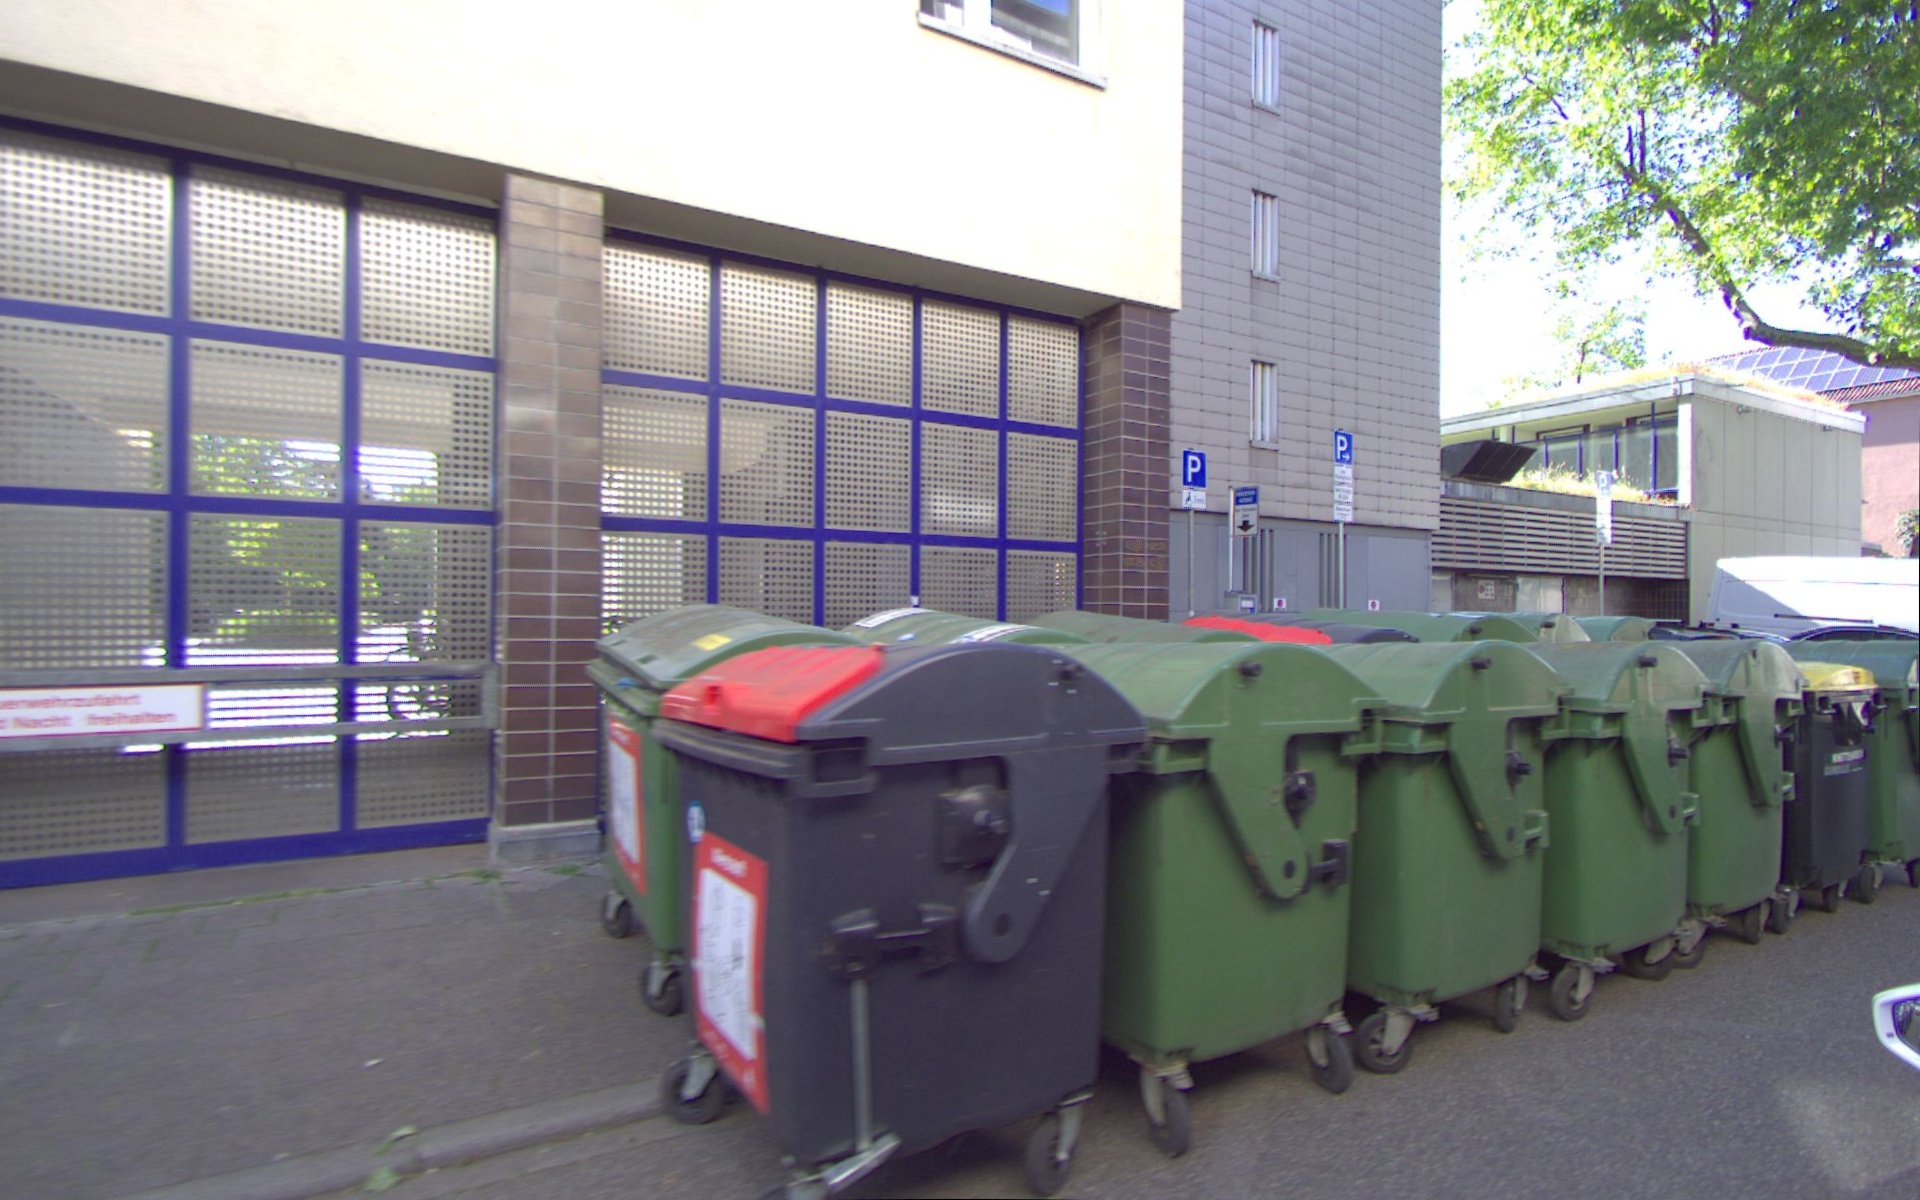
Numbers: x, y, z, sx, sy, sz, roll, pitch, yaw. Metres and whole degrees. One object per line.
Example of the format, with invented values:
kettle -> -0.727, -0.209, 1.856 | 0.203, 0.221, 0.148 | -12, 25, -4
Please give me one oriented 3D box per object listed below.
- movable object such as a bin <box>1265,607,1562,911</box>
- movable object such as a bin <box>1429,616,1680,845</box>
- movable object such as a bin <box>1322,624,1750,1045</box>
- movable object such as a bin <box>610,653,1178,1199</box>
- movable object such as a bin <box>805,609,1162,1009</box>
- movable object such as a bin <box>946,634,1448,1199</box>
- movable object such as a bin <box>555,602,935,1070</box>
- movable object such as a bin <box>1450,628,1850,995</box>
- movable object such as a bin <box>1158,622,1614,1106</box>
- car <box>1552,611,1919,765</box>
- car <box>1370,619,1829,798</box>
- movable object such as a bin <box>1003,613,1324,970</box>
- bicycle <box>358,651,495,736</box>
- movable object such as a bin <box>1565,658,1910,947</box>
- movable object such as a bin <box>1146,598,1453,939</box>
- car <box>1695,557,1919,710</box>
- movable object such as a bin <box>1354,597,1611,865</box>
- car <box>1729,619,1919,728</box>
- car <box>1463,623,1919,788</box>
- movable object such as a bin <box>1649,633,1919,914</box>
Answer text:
movable object such as a bin -> 2.768, 0.872, 6.216 | 1.069, 1.625, 1.283 | 2, -1, -30
movable object such as a bin -> 4.611, 0.927, 7.837 | 1.110, 1.570, 1.343 | 2, -1, -35
movable object such as a bin -> 2.520, 0.886, 4.513 | 1.006, 1.518, 1.337 | 2, -1, -30
movable object such as a bin -> -0.260, 0.896, 2.894 | 1.173, 1.469, 1.313 | 2, -3, -30
movable object such as a bin -> 0.061, 0.819, 4.694 | 1.143, 1.518, 1.299 | 2, -1, -30
movable object such as a bin -> 0.742, 0.884, 3.480 | 1.081, 1.503, 1.328 | 2, -3, -30
movable object such as a bin -> -0.930, 0.786, 4.121 | 1.165, 1.518, 1.290 | 2, -1, -30
movable object such as a bin -> 3.421, 0.918, 5.063 | 1.069, 1.510, 1.328 | 2, -1, -30
movable object such as a bin -> 1.628, 0.861, 4.010 | 0.991, 1.506, 1.342 | 2, -1, -30
car -> 10.731, 1.050, 13.459 | 1.895, 1.631, 4.441 | 2, 0, -32
car -> 6.732, 1.017, 11.005 | 1.806, 1.524, 3.856 | 2, -1, -30
movable object such as a bin -> 1.002, 0.853, 5.189 | 1.006, 1.542, 1.296 | 2, -1, -30
bicycle -> -5.700, 0.986, 10.773 | 1.224, 0.858, 0.421 | 0, 0, -14
movable object such as a bin -> 4.326, 1.023, 5.650 | 1.033, 1.339, 1.235 | 2, -1, -30
movable object such as a bin -> 1.870, 0.832, 5.668 | 1.006, 1.642, 1.288 | 2, -1, -30
car -> 17.213, 0.605, 17.574 | 2.119, 2.589, 6.712 | 2, 1, -27
movable object such as a bin -> 3.692, 0.839, 7.136 | 1.162, 1.675, 1.219 | 2, -1, -36
car -> 15.088, 1.172, 15.678 | 1.905, 1.490, 4.481 | 1, 2, -28
car -> 8.649, 1.088, 12.057 | 1.935, 1.444, 4.320 | 2, 0, -30
movable object such as a bin -> 5.249, 0.964, 6.228 | 1.106, 1.470, 1.293 | 2, -1, -33
